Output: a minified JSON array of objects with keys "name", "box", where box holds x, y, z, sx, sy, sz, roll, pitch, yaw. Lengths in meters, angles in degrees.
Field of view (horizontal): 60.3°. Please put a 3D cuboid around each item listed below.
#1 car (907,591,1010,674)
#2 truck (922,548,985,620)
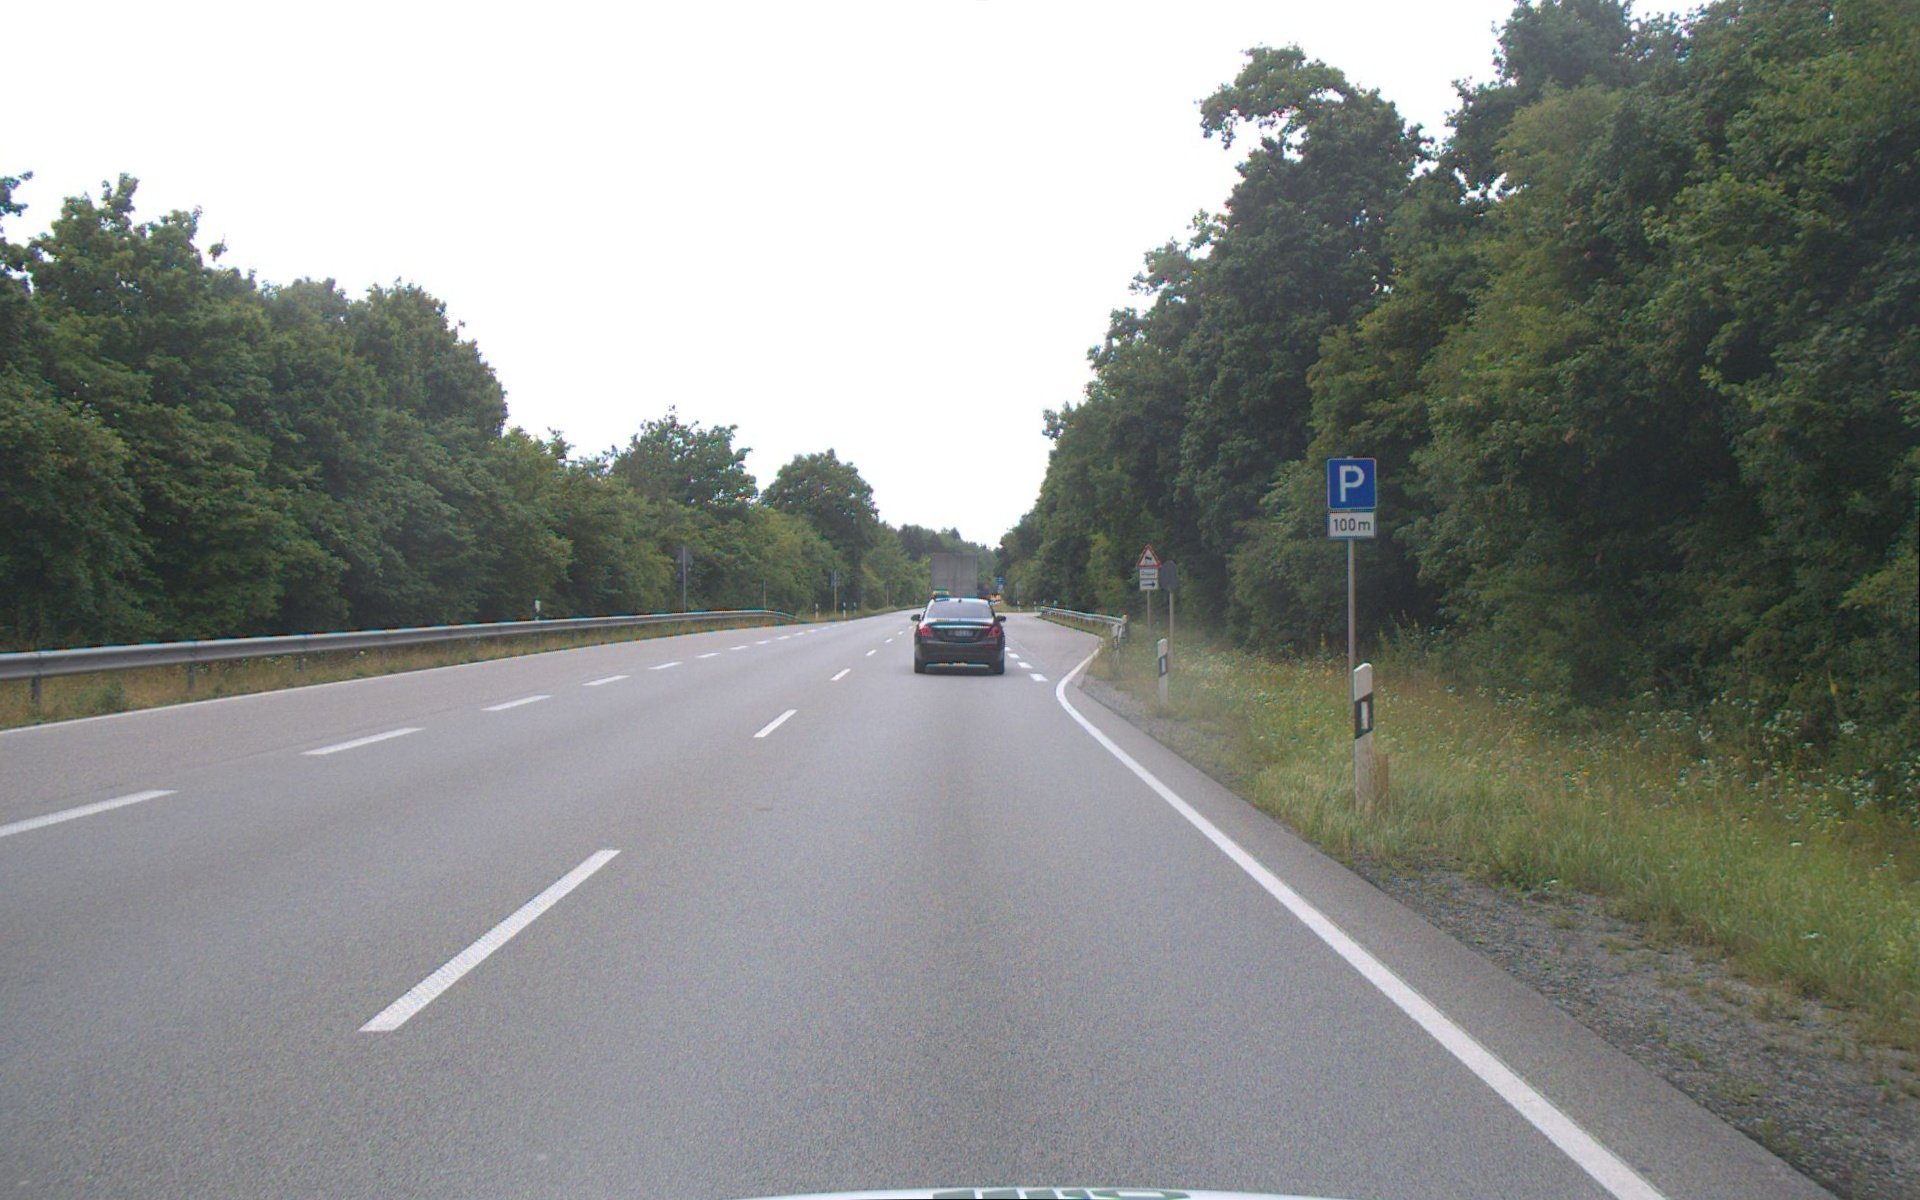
[{"name":"car","box":[-0.081,0.614,33.724,1.756,1.579,3.996,1,0,-5]},{"name":"truck","box":[-0.429,-0.848,92.004,3.214,3.675,11.397,1,0,-1]}]
